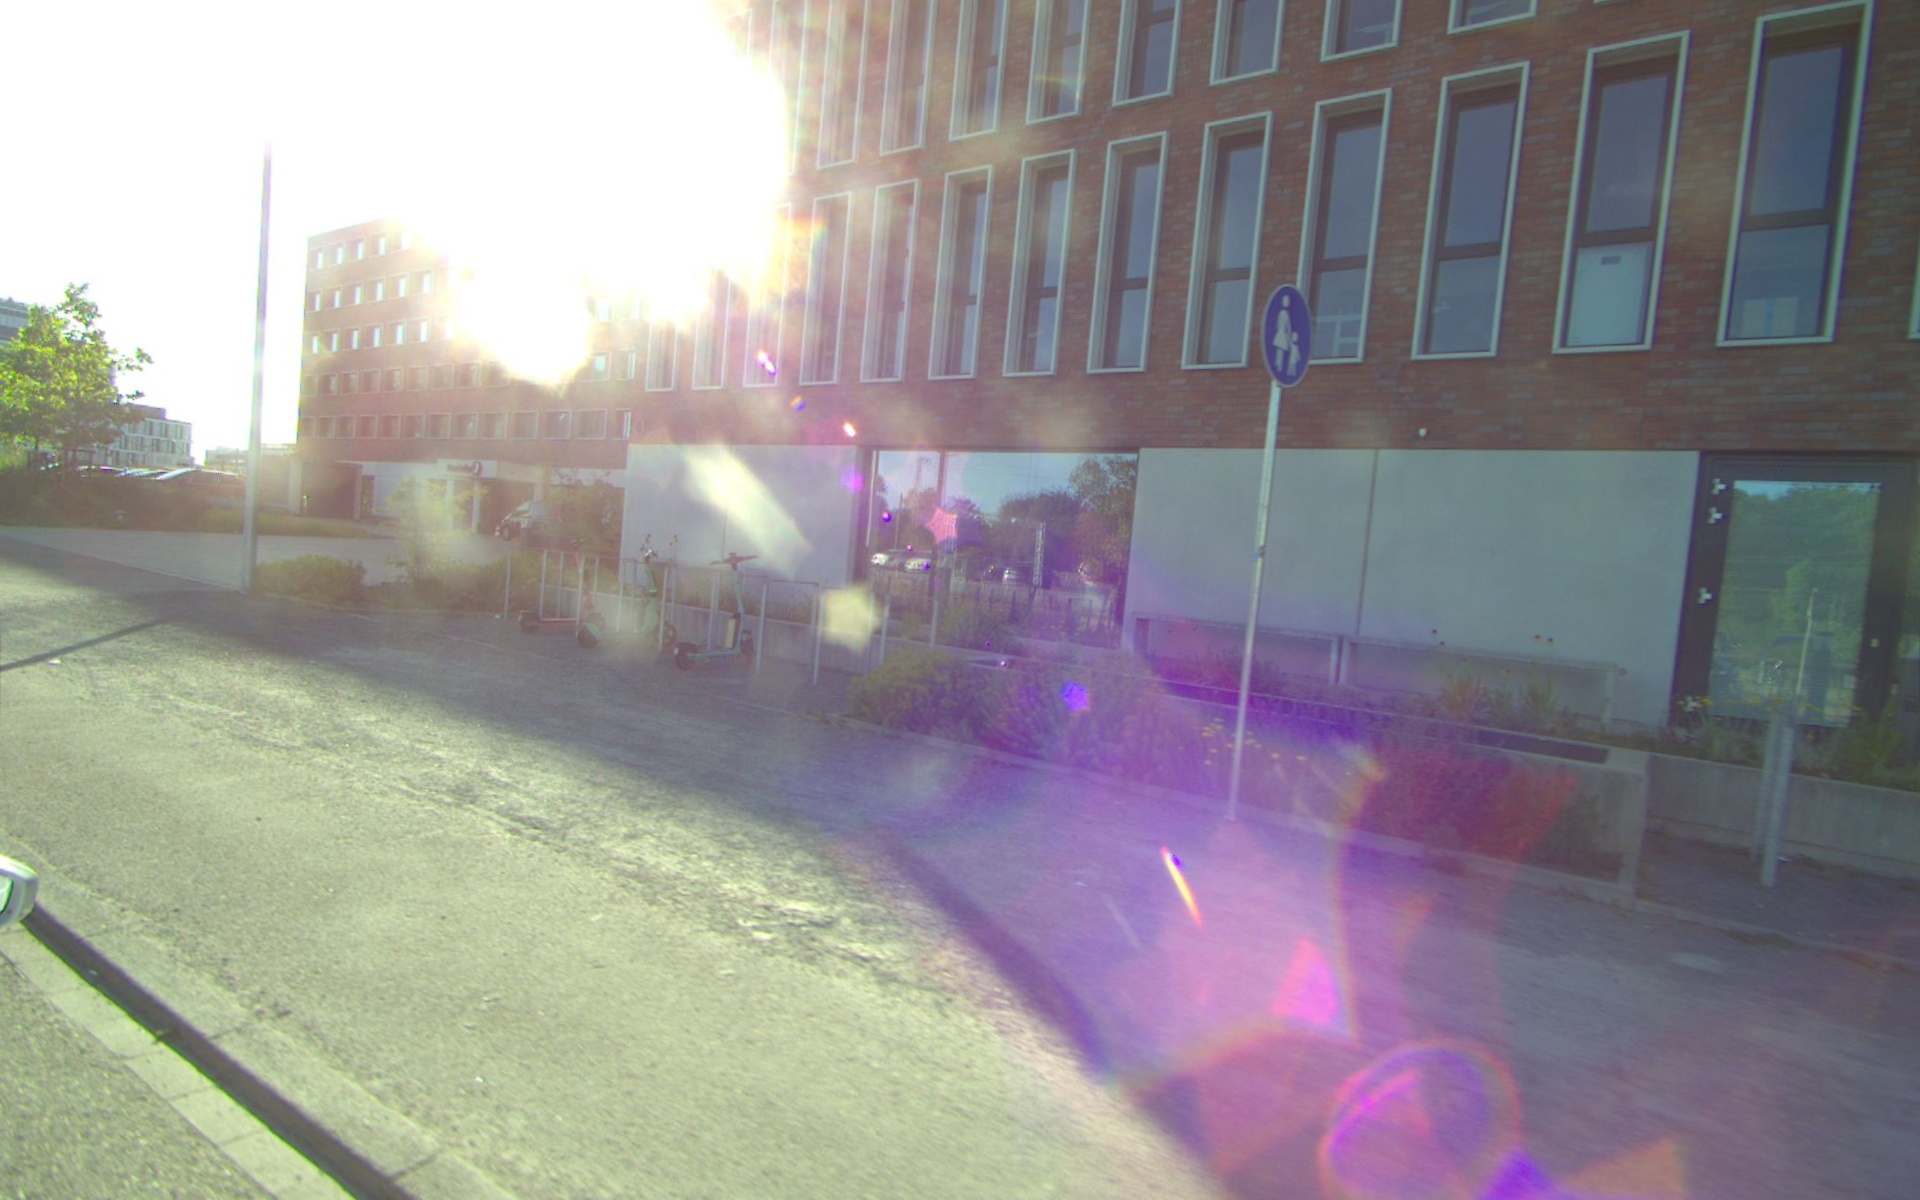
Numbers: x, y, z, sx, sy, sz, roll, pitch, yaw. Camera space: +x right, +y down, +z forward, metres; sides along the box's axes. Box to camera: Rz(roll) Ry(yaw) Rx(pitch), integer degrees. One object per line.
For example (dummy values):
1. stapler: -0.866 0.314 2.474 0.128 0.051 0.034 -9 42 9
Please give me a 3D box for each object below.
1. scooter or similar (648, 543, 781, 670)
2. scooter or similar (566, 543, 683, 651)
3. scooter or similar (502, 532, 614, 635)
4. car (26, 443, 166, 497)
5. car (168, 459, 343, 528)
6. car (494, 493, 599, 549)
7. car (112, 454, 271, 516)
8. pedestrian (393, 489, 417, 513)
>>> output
1. scooter or similar: -2.620 0.074 10.828 0.417 1.262 1.338 9 5 37
2. scooter or similar: -3.881 -0.025 11.698 0.360 1.172 1.241 9 5 37
3. scooter or similar: -5.013 -0.190 12.604 0.335 1.211 1.241 9 5 37
4. car: -36.684 -5.507 42.819 1.823 1.602 4.181 9 3 36
5. car: -22.506 -3.376 32.252 1.823 1.602 4.181 9 3 36
6. car: -18.484 -3.533 44.929 4.716 1.961 1.970 8 3 34
7. car: -27.783 -4.133 36.486 1.823 1.601 4.180 8 3 36
8. pedestrian: -34.925 -6.216 63.314 0.993 1.328 0.928 9 4 33
